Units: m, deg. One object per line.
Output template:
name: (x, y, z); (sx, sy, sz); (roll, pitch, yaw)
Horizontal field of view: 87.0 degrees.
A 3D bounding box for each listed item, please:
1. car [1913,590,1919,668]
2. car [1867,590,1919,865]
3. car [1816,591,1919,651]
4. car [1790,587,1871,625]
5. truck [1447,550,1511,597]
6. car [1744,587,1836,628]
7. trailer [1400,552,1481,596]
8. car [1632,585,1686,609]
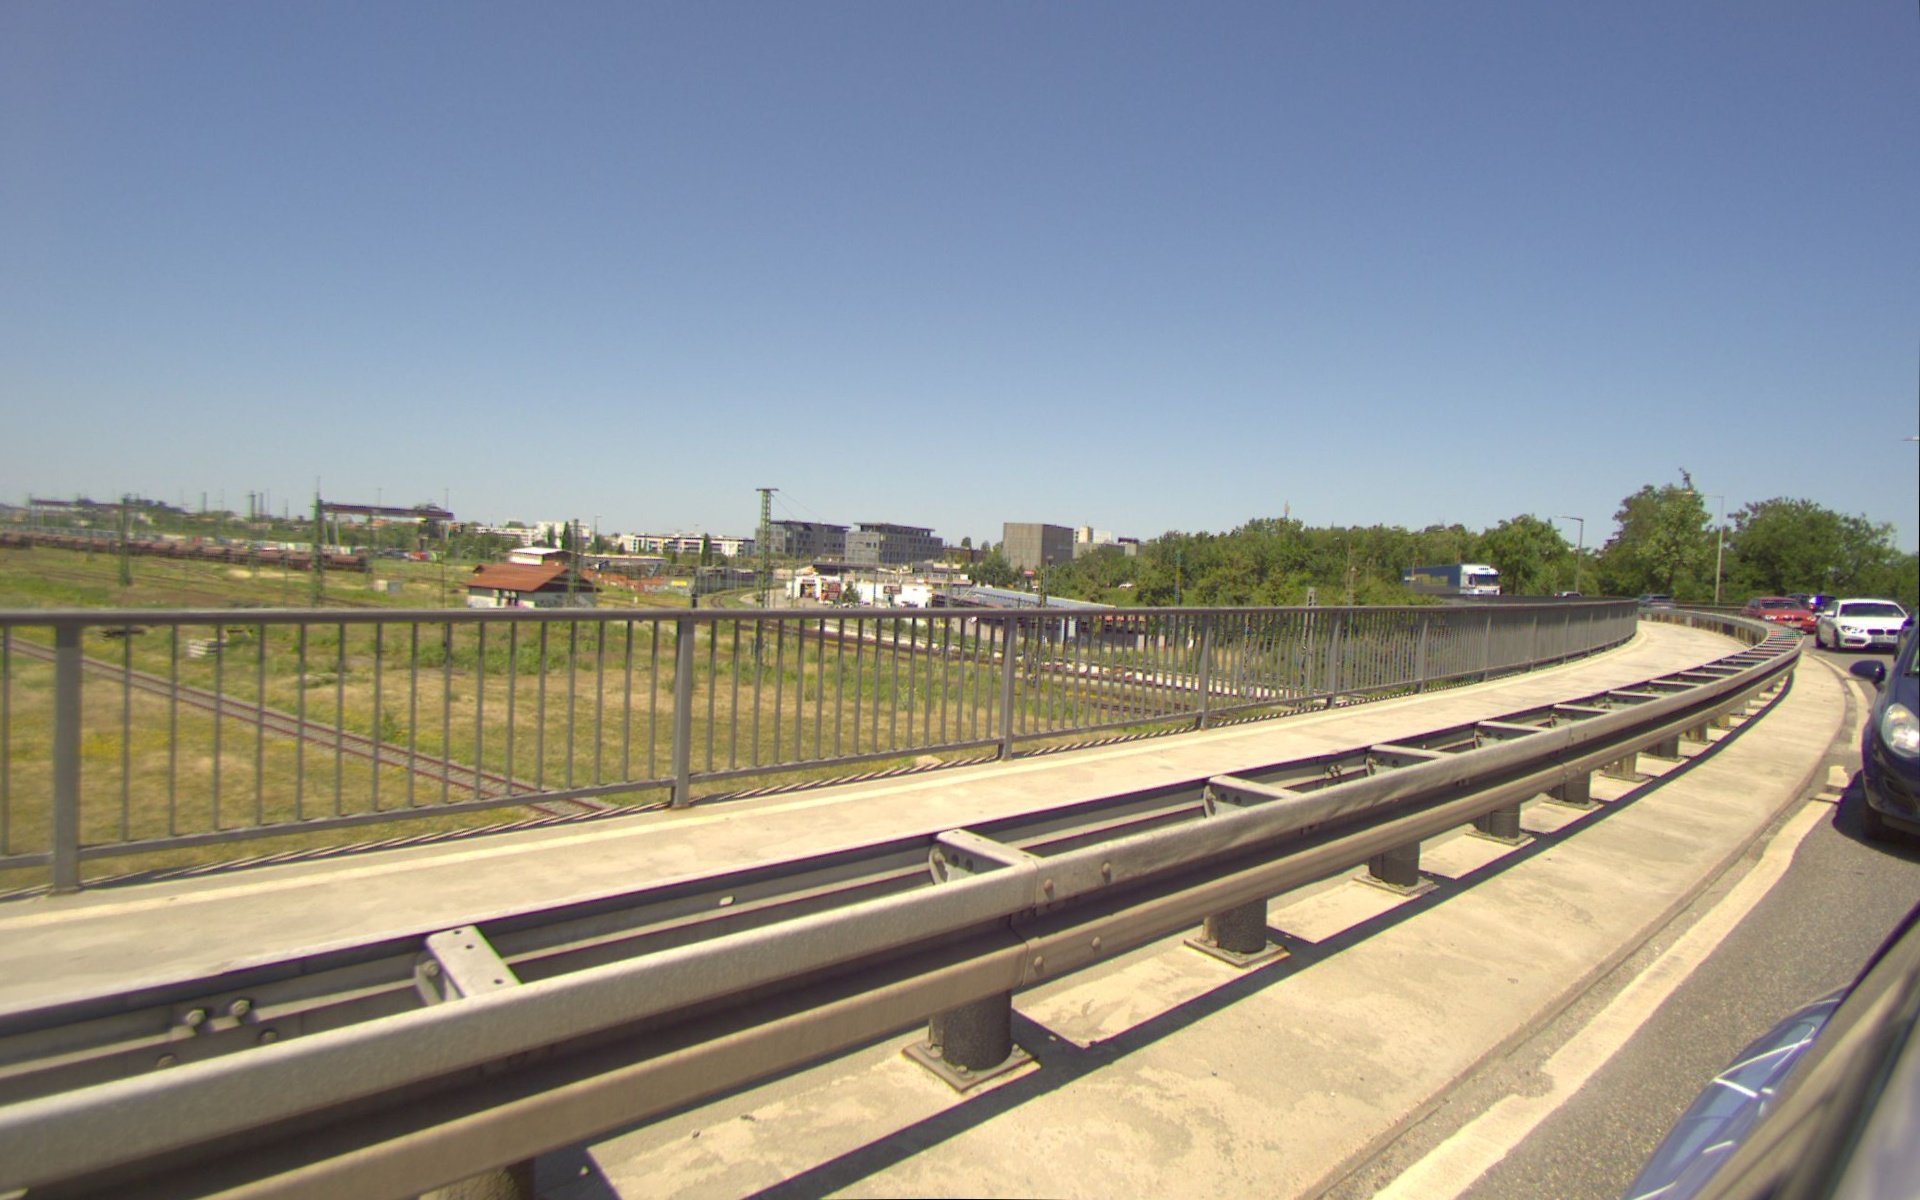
car: (19.011, 0.558, 18.750); (1.788, 1.473, 4.456); (1, 1, 41)
car: (6.924, 0.678, 6.308); (3.934, 1.457, 1.642); (0, 1, -44)
car: (25.007, 0.514, 27.680); (1.782, 1.473, 4.472); (1, 1, 32)
car: (40.556, 0.241, 47.262); (1.760, 1.646, 4.216); (2, 1, 26)
truck: (49.022, -2.455, 95.864); (2.646, 4.281, 6.837); (-1, 1, 2)
car: (32.908, 0.250, 40.244); (1.778, 1.473, 4.483); (1, 2, 26)
trailer: (49.315, -2.618, 104.409); (2.652, 4.287, 12.708); (0, 1, 2)
car: (47.557, -0.206, 68.941); (1.756, 1.526, 4.174); (2, 2, 16)
